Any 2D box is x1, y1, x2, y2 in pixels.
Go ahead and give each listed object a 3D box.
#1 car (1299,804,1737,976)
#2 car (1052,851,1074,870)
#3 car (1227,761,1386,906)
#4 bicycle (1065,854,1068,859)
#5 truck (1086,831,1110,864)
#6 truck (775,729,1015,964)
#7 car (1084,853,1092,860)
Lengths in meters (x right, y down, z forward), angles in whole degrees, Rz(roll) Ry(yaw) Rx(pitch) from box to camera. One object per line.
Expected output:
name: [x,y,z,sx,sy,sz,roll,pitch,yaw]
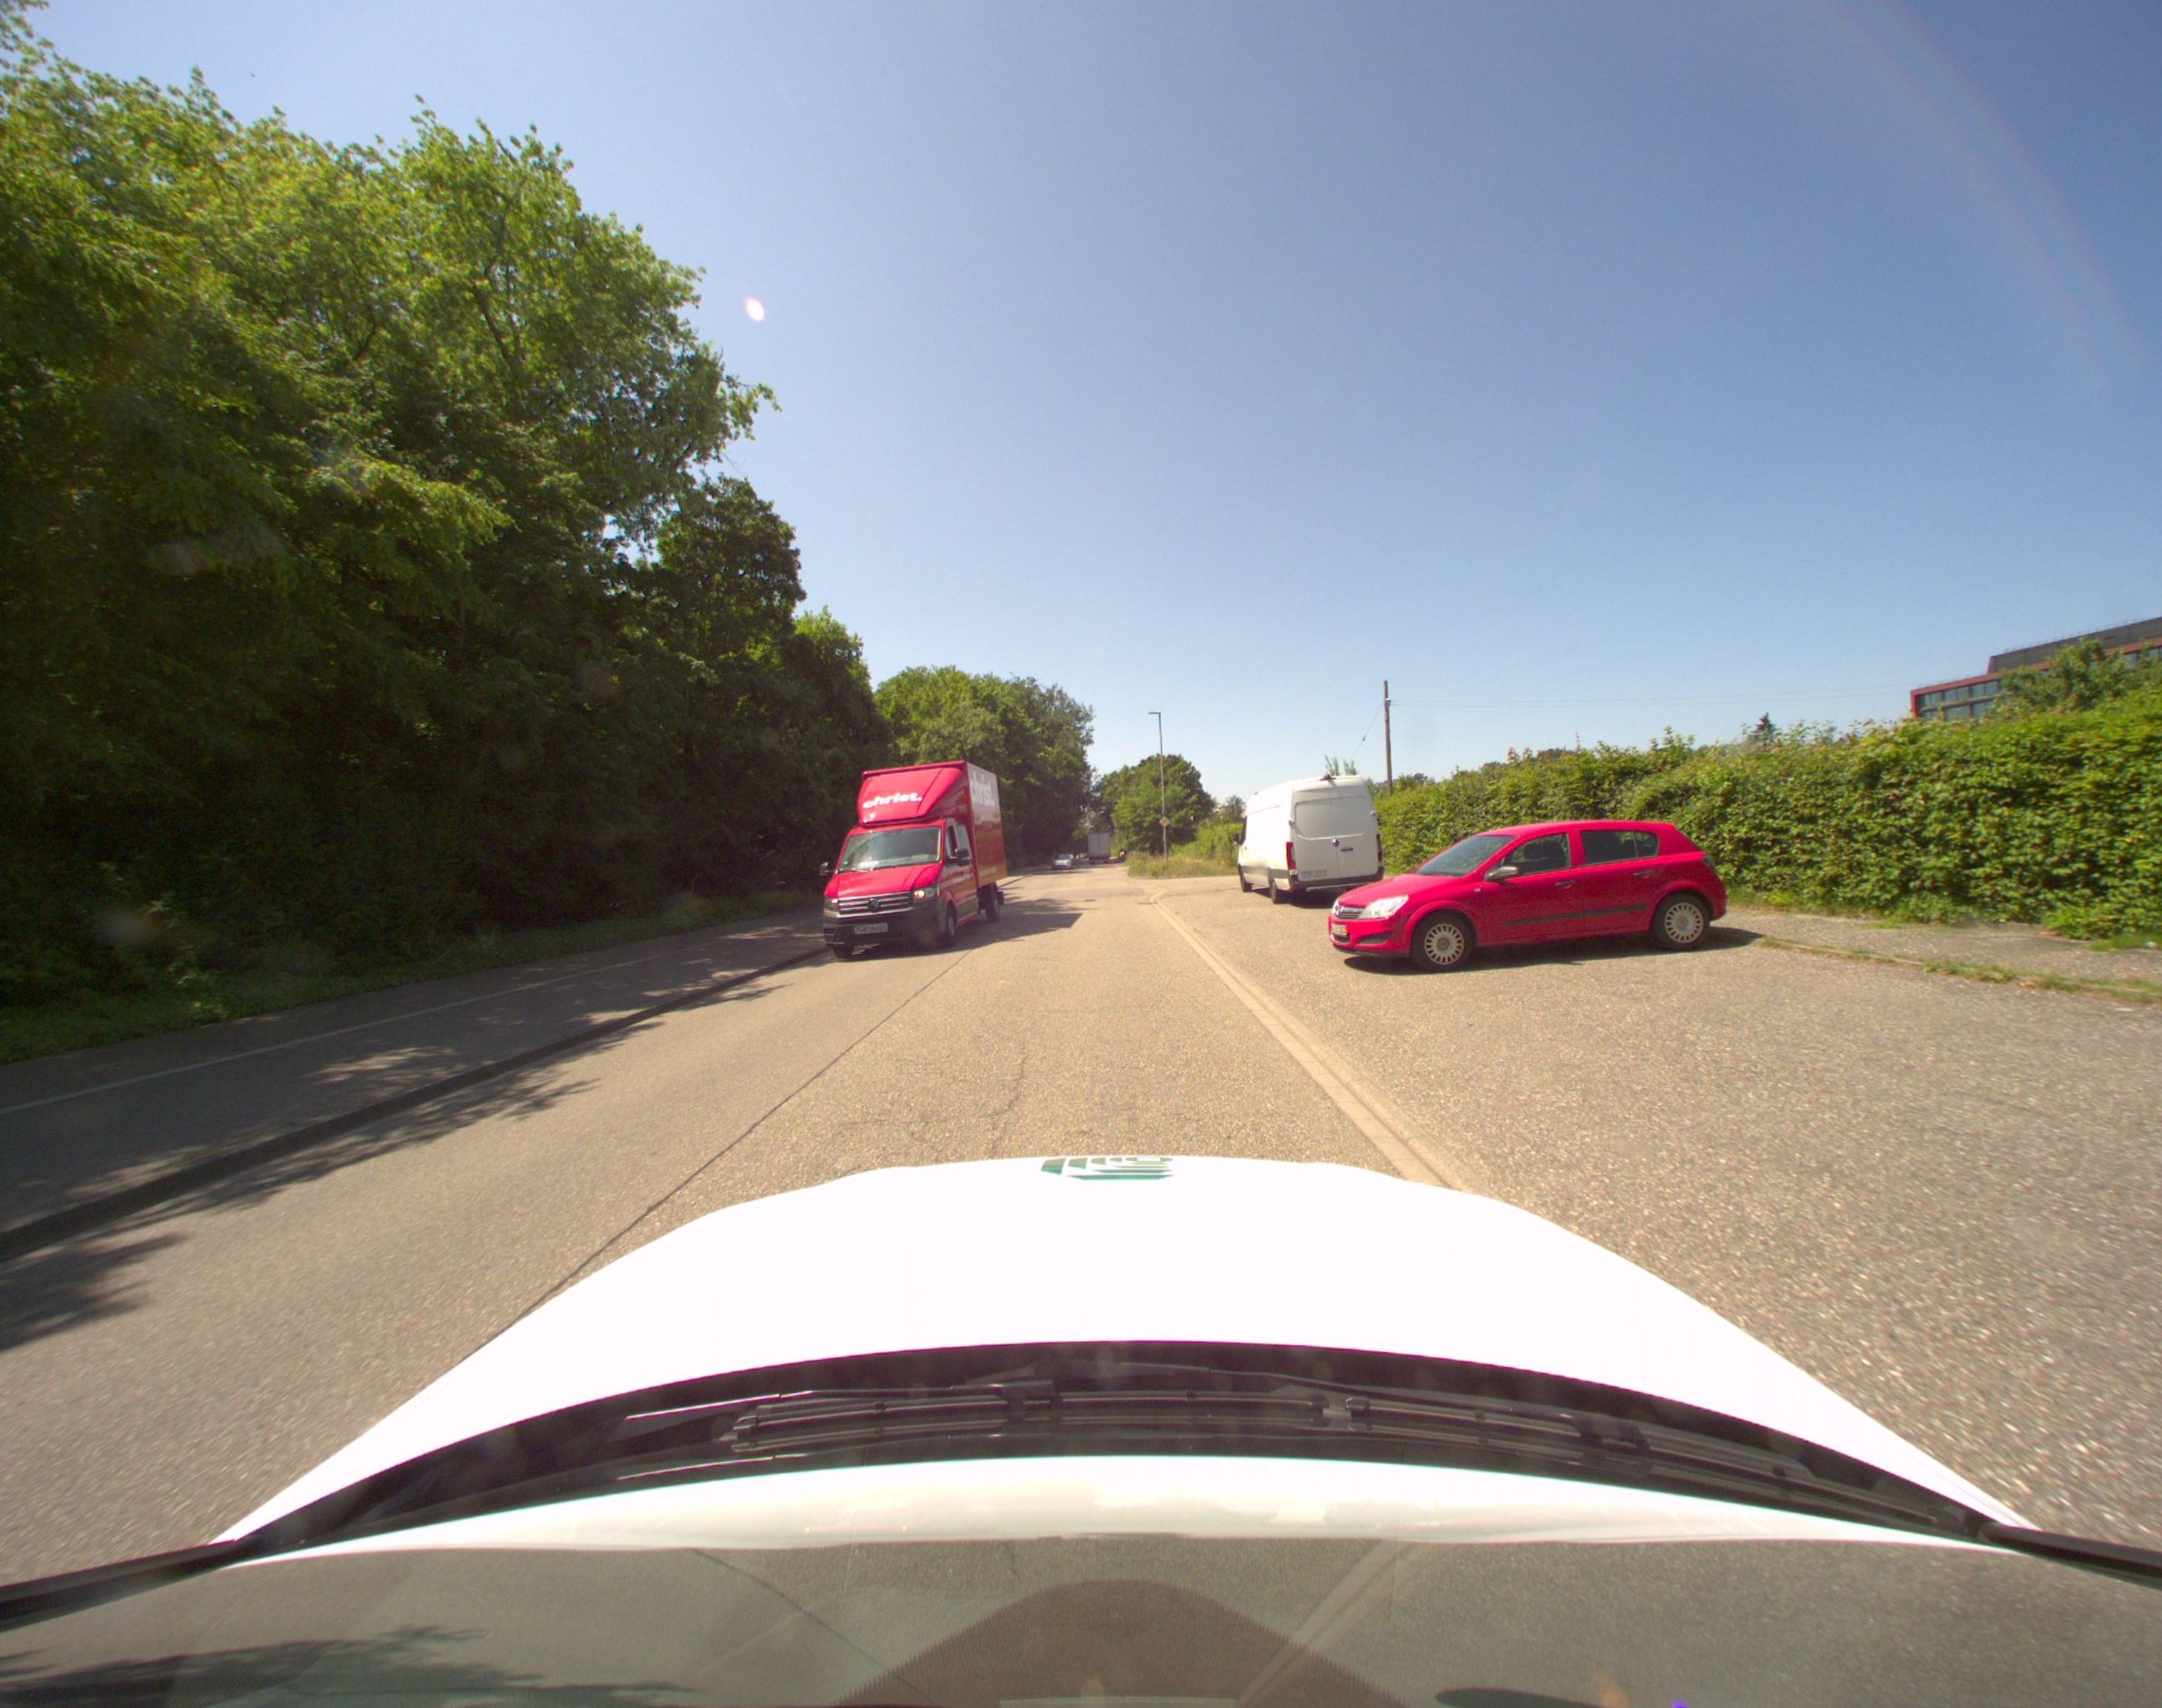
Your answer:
car: [4.849,0.361,9.448,4.044,1.434,1.834,-5,0,-2]
car: [-1.560,0.562,72.751,1.785,1.572,4.272,-3,1,1]
car: [5.169,-0.451,19.930,1.947,2.733,7.171,-5,0,2]
bicycle: [-3.363,0.530,188.758,0.715,1.159,2.231,-3,0,2]
truck: [2.171,-0.787,99.890,2.723,3.745,13.251,-2,0,2]
truck: [-3.194,-0.149,16.256,2.312,3.439,7.170,-6,0,5]
car: [1.966,0.627,216.178,1.986,1.684,4.264,-3,0,2]
